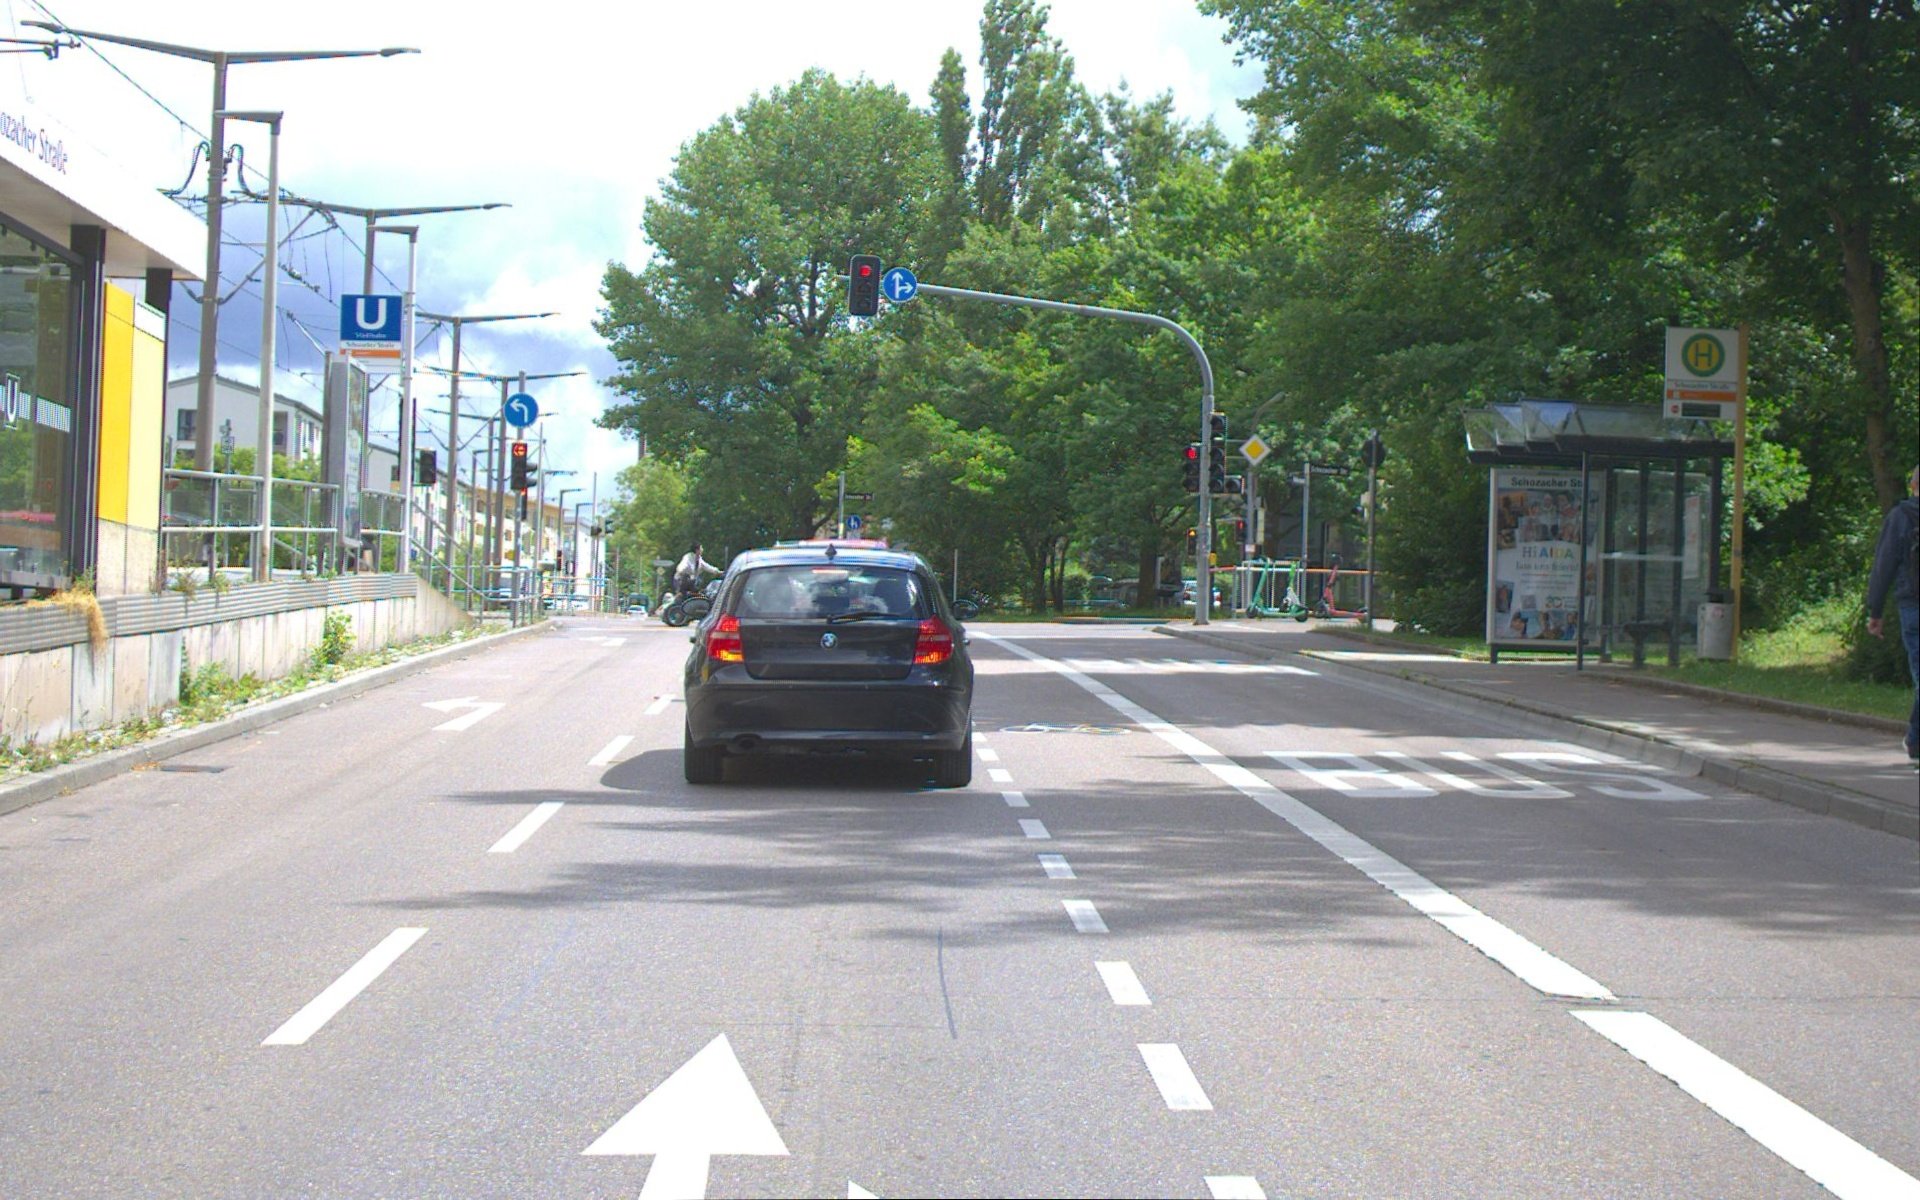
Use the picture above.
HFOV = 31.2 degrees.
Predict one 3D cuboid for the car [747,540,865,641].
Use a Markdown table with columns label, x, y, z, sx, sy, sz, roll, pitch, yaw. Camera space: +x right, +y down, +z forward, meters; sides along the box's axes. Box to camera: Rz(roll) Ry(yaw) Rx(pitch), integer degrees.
| label | x | y | z | sx | sy | sz | roll | pitch | yaw |
| --- | --- | --- | --- | --- | --- | --- | --- | --- | --- |
| car | -2.291 | -0.163 | 50.571 | 1.654 | 1.414 | 3.517 | 1 | 1 | -3 |

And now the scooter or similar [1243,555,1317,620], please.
| label | x | y | z | sx | sy | sz | roll | pitch | yaw |
| --- | --- | --- | --- | --- | --- | --- | --- | --- | --- |
| scooter or similar | 5.865 | -0.229 | 63.079 | 1.287 | 1.185 | 0.385 | 0 | 1 | -17 |

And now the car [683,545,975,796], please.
| label | x | y | z | sx | sy | sz | roll | pitch | yaw |
| --- | --- | --- | --- | --- | --- | --- | --- | --- | --- |
| car | -0.751 | 0.376 | 21.411 | 1.654 | 1.414 | 3.517 | 1 | 1 | 0 |

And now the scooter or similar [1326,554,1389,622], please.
| label | x | y | z | sx | sy | sz | roll | pitch | yaw |
| --- | --- | --- | --- | --- | --- | --- | --- | --- | --- |
| scooter or similar | 7.394 | -0.215 | 63.962 | 1.106 | 1.253 | 0.332 | 0 | 1 | -13 |

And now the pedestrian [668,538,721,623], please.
| label | x | y | z | sx | sy | sz | roll | pitch | yaw |
| --- | --- | --- | --- | --- | --- | --- | --- | --- | --- |
| pedestrian | -4.549 | -0.337 | 58.893 | 0.865 | 1.437 | 0.799 | 0 | 1 | -3 |

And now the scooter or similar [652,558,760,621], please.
| label | x | y | z | sx | sy | sz | roll | pitch | yaw |
| --- | --- | --- | --- | --- | --- | --- | --- | --- | --- |
| scooter or similar | -4.318 | -0.173 | 58.369 | 1.780 | 1.047 | 0.410 | 0 | 1 | -13 |

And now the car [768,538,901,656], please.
| label | x | y | z | sx | sy | sz | roll | pitch | yaw |
| --- | --- | --- | --- | --- | --- | --- | --- | --- | --- |
| car | -1.561 | -0.064 | 43.493 | 1.594 | 1.414 | 3.517 | 1 | 1 | -1 |

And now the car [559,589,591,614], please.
| label | x | y | z | sx | sy | sz | roll | pitch | yaw |
| --- | --- | --- | --- | --- | --- | --- | --- | --- | --- |
| car | -25.431 | 0.106 | 227.129 | 1.966 | 1.590 | 4.001 | 1 | 1 | -4 |

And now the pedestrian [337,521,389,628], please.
| label | x | y | z | sx | sy | sz | roll | pitch | yaw |
| --- | --- | --- | --- | --- | --- | --- | --- | --- | --- |
| pedestrian | -9.096 | -0.388 | 52.419 | 0.701 | 1.627 | 0.638 | 0 | 1 | -2 |

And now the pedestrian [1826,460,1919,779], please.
| label | x | y | z | sx | sy | sz | roll | pitch | yaw |
| --- | --- | --- | --- | --- | --- | --- | --- | --- | --- |
| pedestrian | 5.884 | 0.114 | 20.989 | 0.801 | 1.889 | 1.270 | 1 | 1 | -1 |
